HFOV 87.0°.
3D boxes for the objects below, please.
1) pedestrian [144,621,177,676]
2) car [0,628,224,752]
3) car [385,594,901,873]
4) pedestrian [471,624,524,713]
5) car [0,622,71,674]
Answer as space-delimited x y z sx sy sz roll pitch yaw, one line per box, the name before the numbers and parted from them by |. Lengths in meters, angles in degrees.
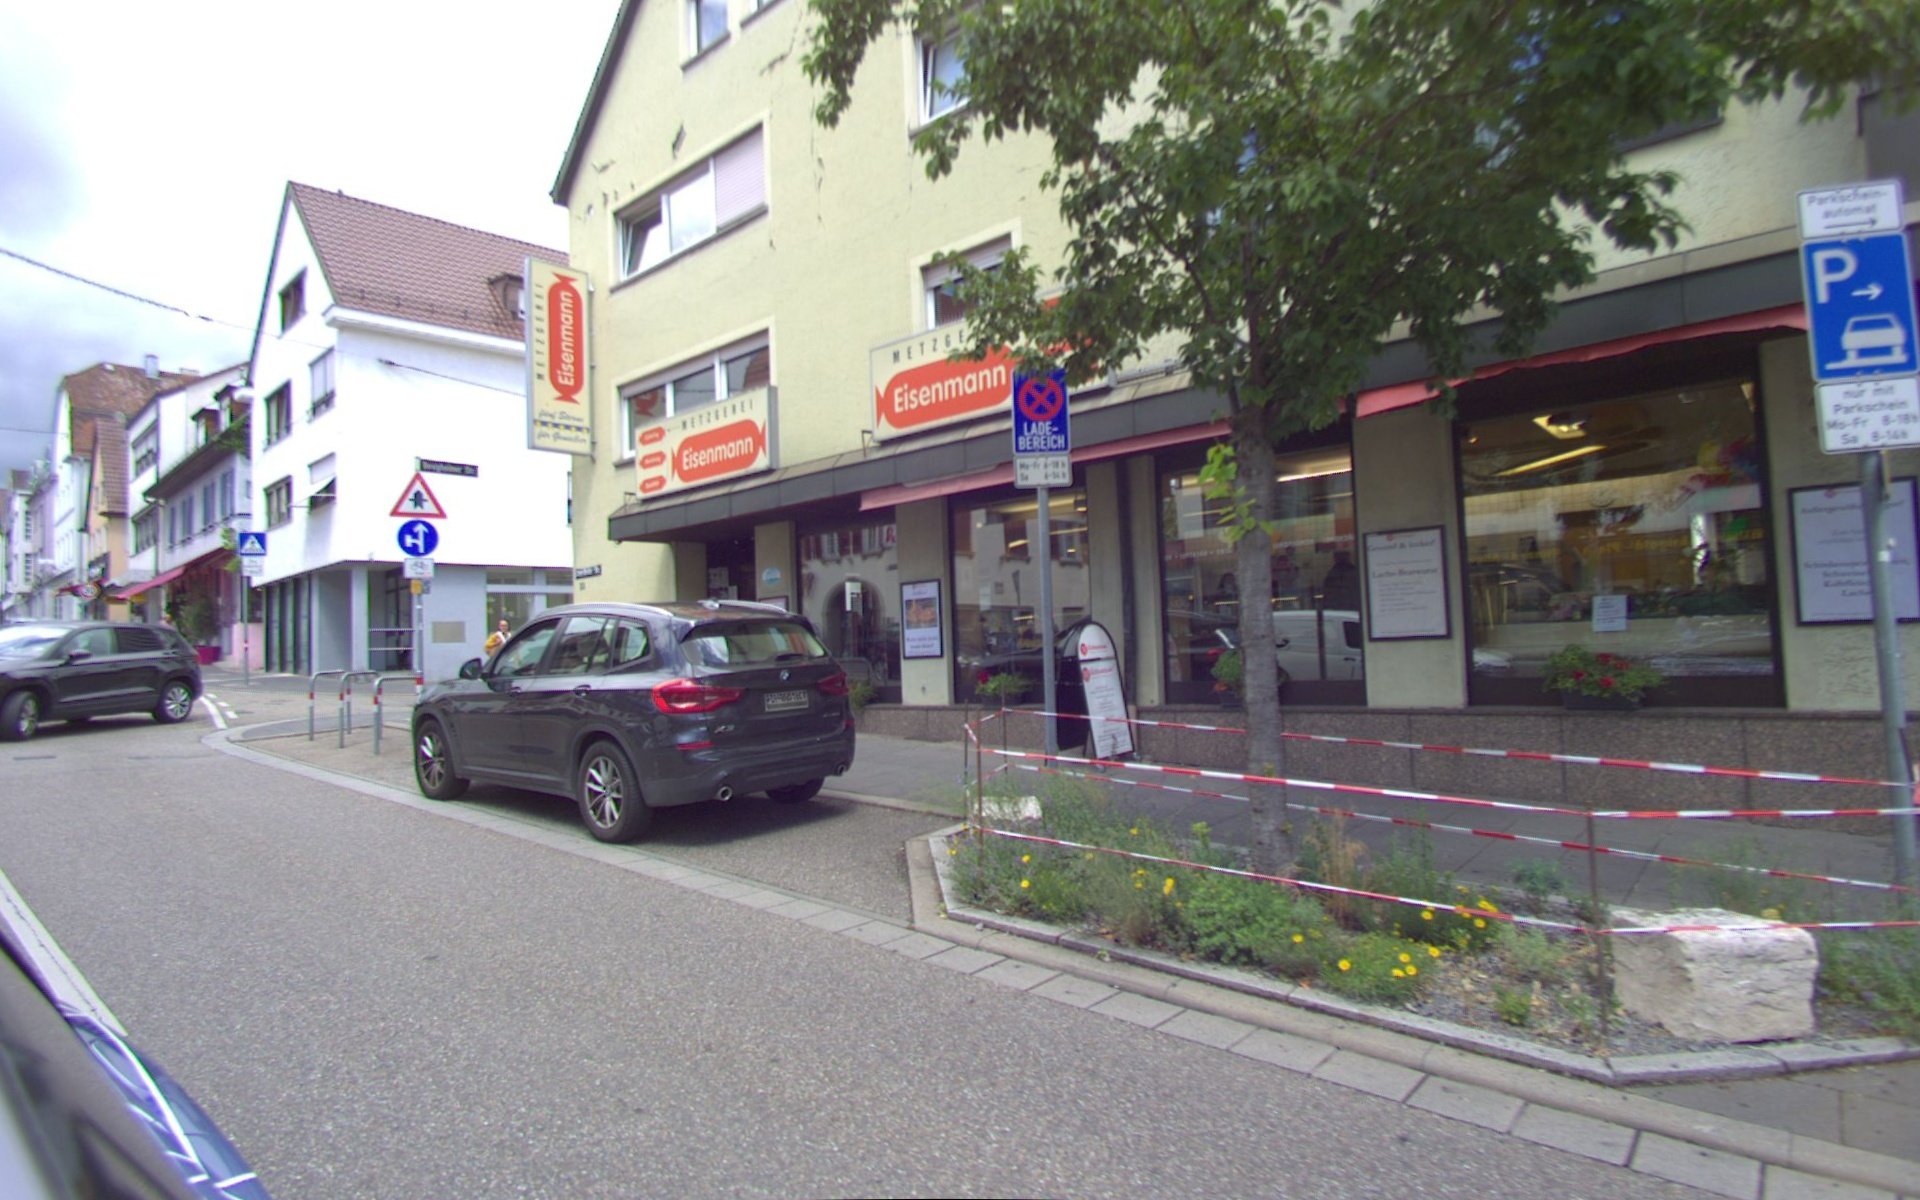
pedestrian | -25.539 1.539 32.316 0.825 1.753 0.686 -2 -2 43
car | -13.109 1.193 14.457 1.890 1.581 4.368 0 -2 3
car | -2.856 0.884 8.508 4.604 1.706 1.986 -2 -1 40
pedestrian | -9.406 1.380 20.598 0.835 1.752 0.630 -1 -3 38
car | -31.016 1.549 33.503 4.355 1.633 1.941 -1 -2 43
